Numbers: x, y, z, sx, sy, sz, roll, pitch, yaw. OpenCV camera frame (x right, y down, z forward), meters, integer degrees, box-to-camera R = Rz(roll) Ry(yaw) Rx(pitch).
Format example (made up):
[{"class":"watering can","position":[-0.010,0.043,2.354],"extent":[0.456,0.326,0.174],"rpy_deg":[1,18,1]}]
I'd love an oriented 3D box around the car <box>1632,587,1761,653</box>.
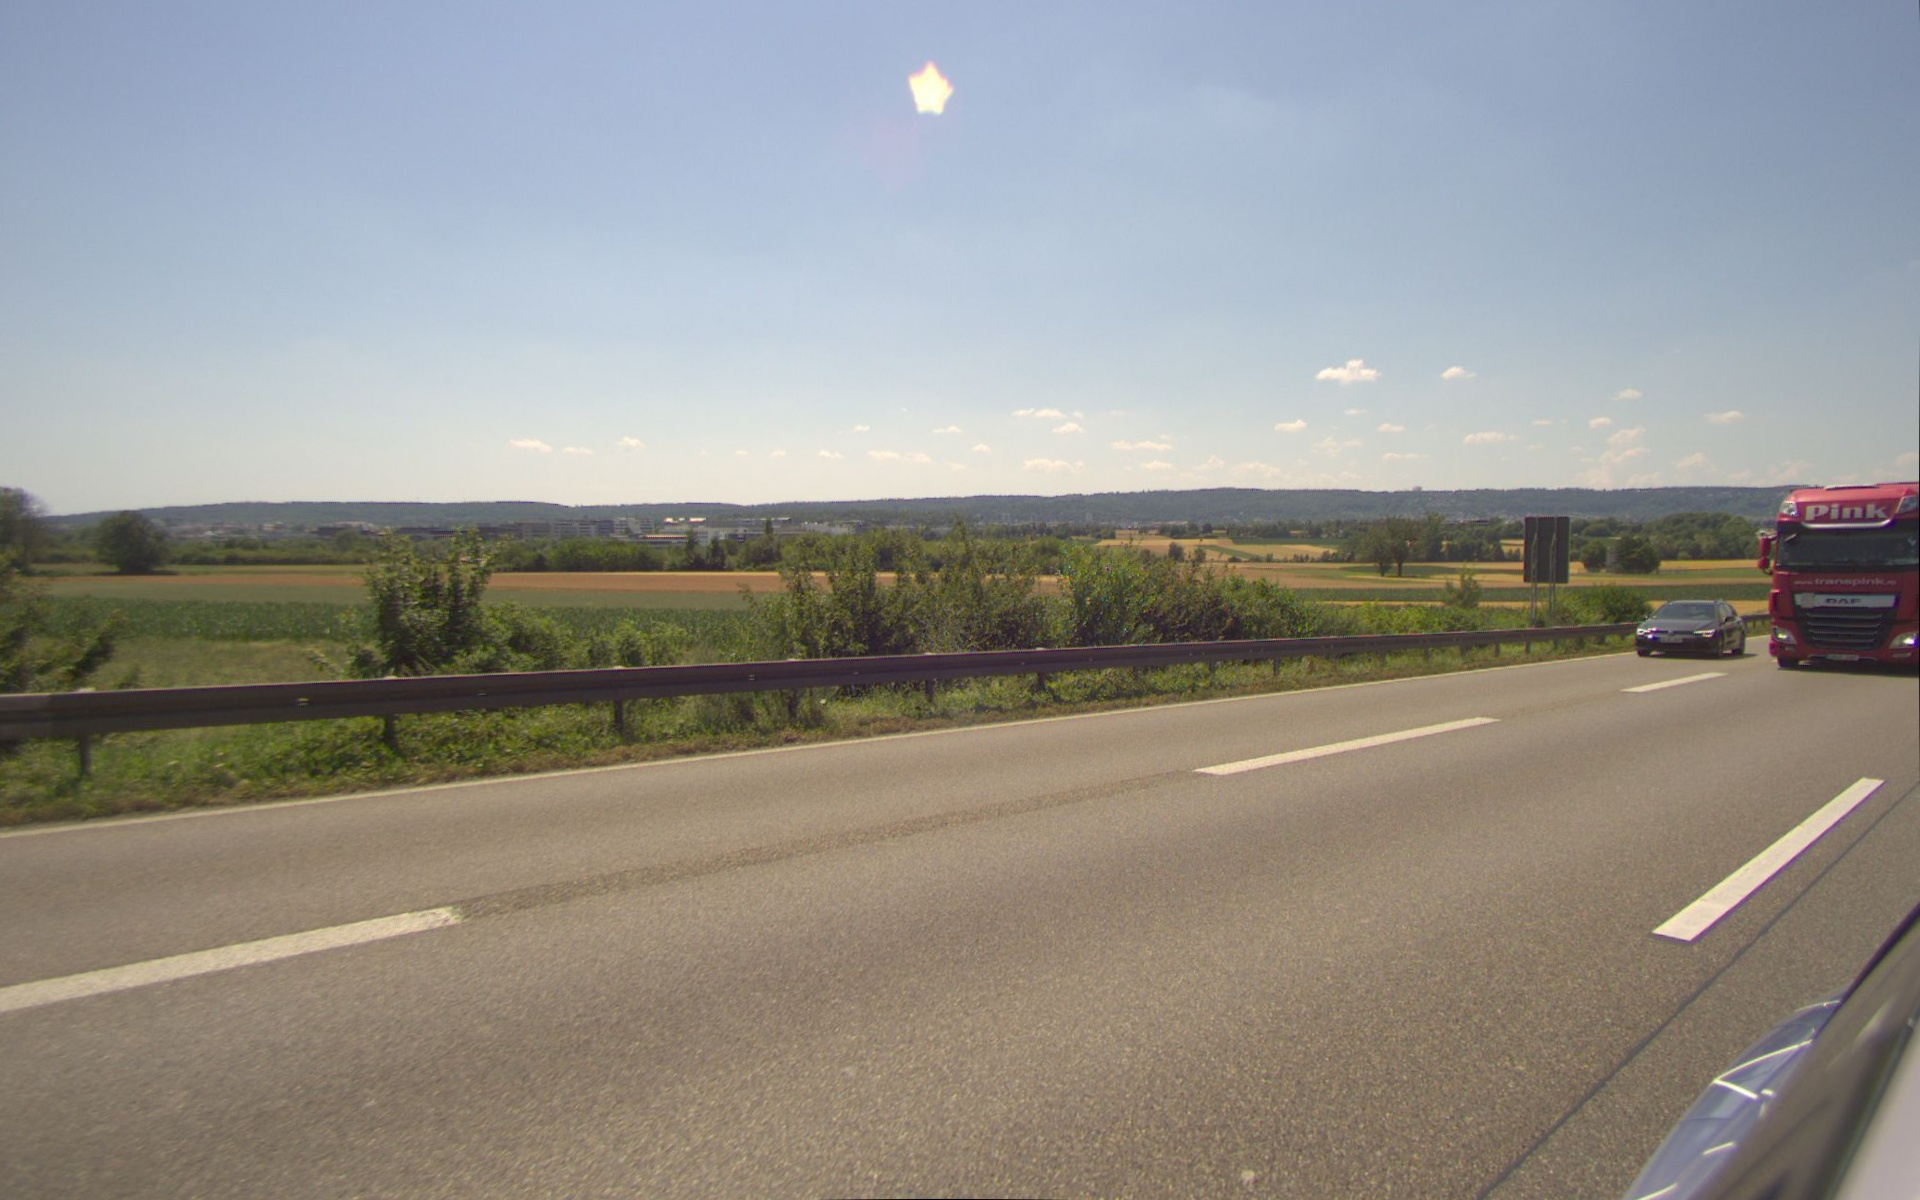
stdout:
[{"class":"car","position":[19.281,0.468,26.443],"extent":[3.933,1.571,2.034],"rpy_deg":[0,1,-43]}]

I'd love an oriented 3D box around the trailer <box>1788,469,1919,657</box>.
[{"class":"trailer","position":[25.759,-0.945,27.690],"extent":[13.624,4.169,2.922],"rpy_deg":[-1,1,-43]}]

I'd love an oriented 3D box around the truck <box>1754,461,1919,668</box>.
[{"class":"truck","position":[20.430,-0.762,22.812],"extent":[6.400,4.059,2.920],"rpy_deg":[-1,1,-42]}]
